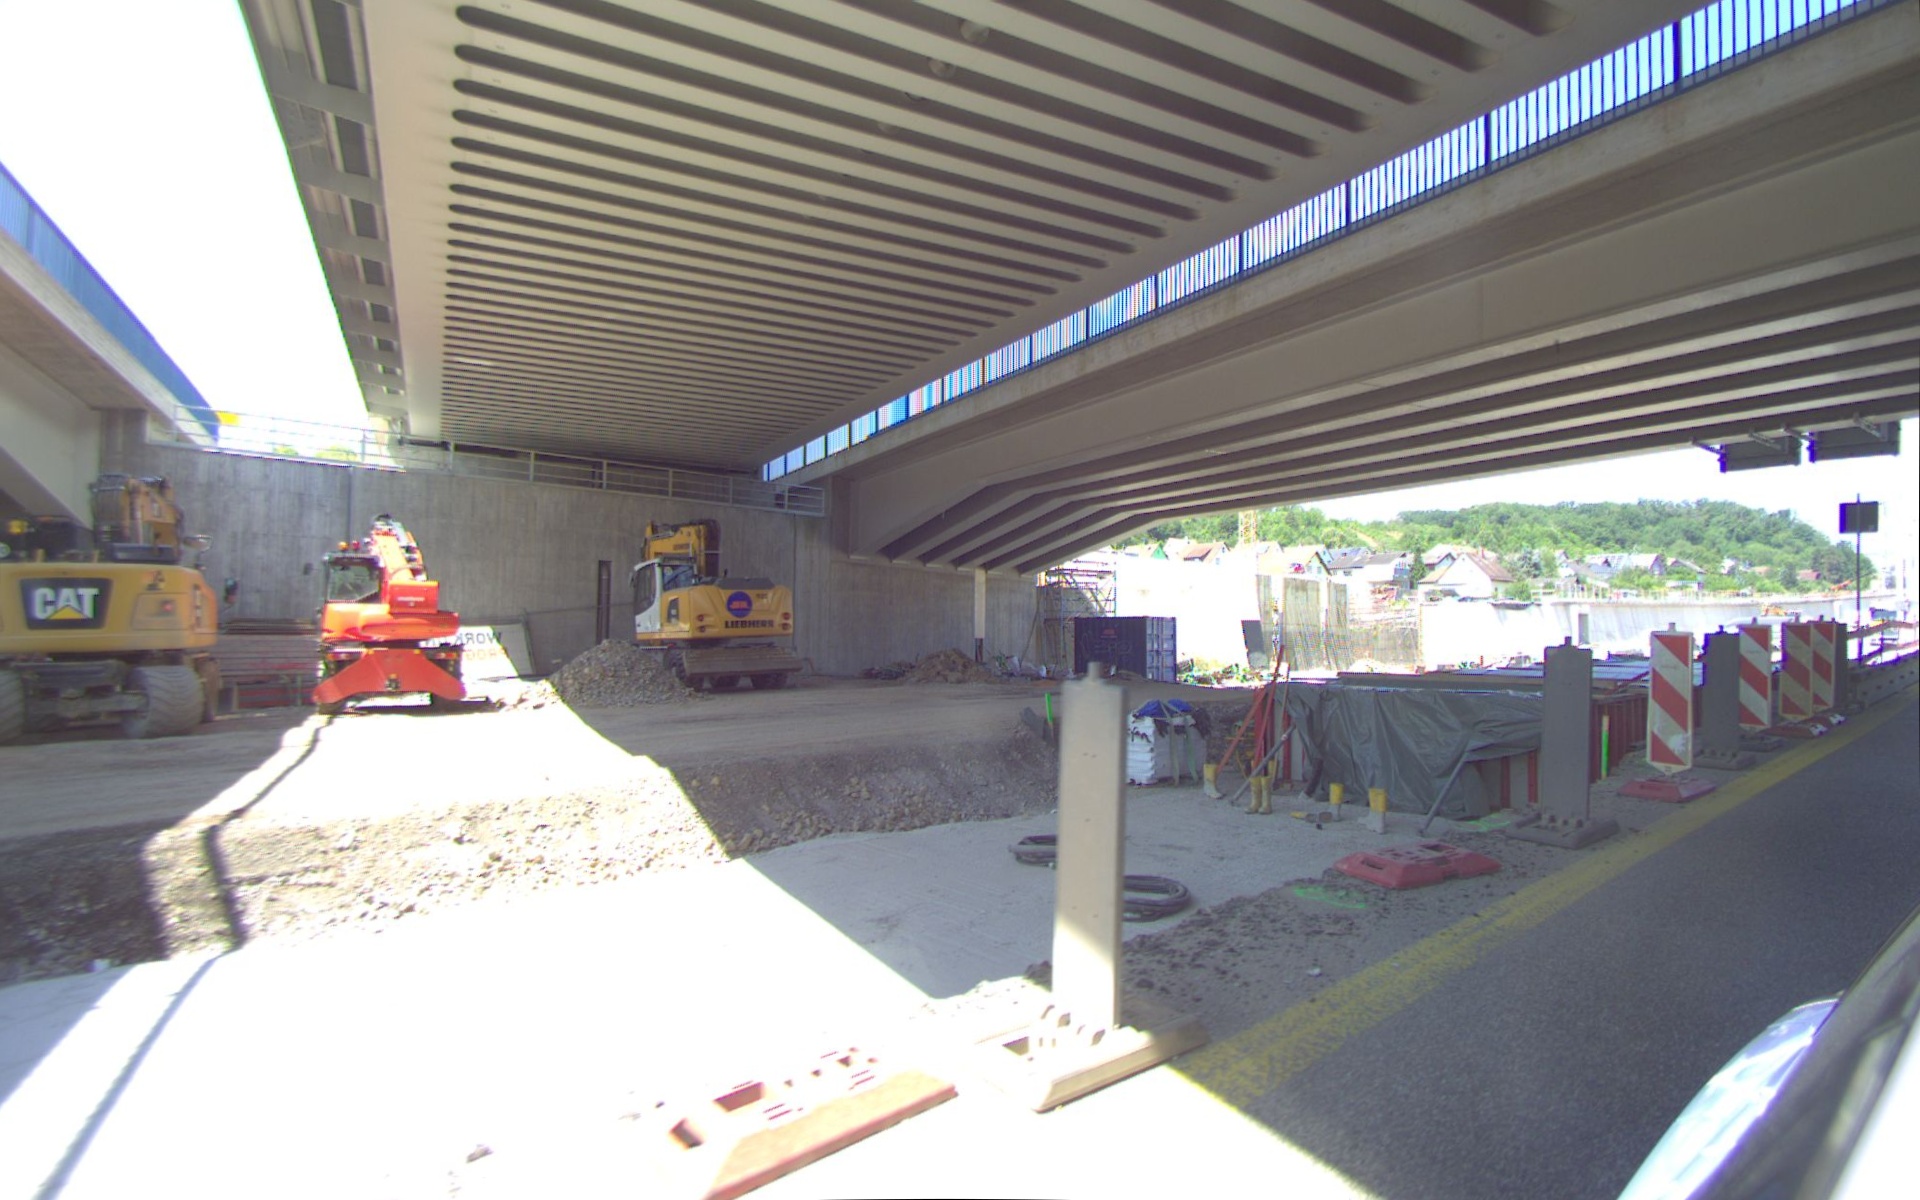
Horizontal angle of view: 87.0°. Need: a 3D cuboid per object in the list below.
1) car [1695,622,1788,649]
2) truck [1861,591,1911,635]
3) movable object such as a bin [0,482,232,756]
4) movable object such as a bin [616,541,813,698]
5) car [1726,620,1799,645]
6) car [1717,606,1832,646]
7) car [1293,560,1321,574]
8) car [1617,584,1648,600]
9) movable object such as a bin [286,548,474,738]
[{"bbox_3d":[53.861,2.462,69.854,1.690,1.792,4.796,0,-2,-40],"label":"car"},{"bbox_3d":[78.487,1.064,85.767,5.342,3.447,2.502,-2,1,-41],"label":"truck"},{"bbox_3d":[-13.022,0.273,15.264,2.845,3.587,3.897,-2,-1,-30],"label":"movable object such as a bin"},{"bbox_3d":[-5.957,0.437,24.182,2.935,3.329,4.565,-2,-1,-37],"label":"movable object such as a bin"},{"bbox_3d":[56.600,2.302,71.441,3.859,1.707,1.666,-3,-2,44],"label":"car"},{"bbox_3d":[59.284,1.958,73.898,6.266,2.615,2.028,-4,-4,36],"label":"car"},{"bbox_3d":[39.908,-3.805,116.413,3.545,1.504,1.544,-2,1,-41],"label":"car"},{"bbox_3d":[72.535,-0.834,109.126,4.528,1.623,1.655,-2,1,-42],"label":"car"},{"bbox_3d":[-11.209,0.738,19.343,2.451,3.095,5.253,-2,-1,-37],"label":"movable object such as a bin"}]
